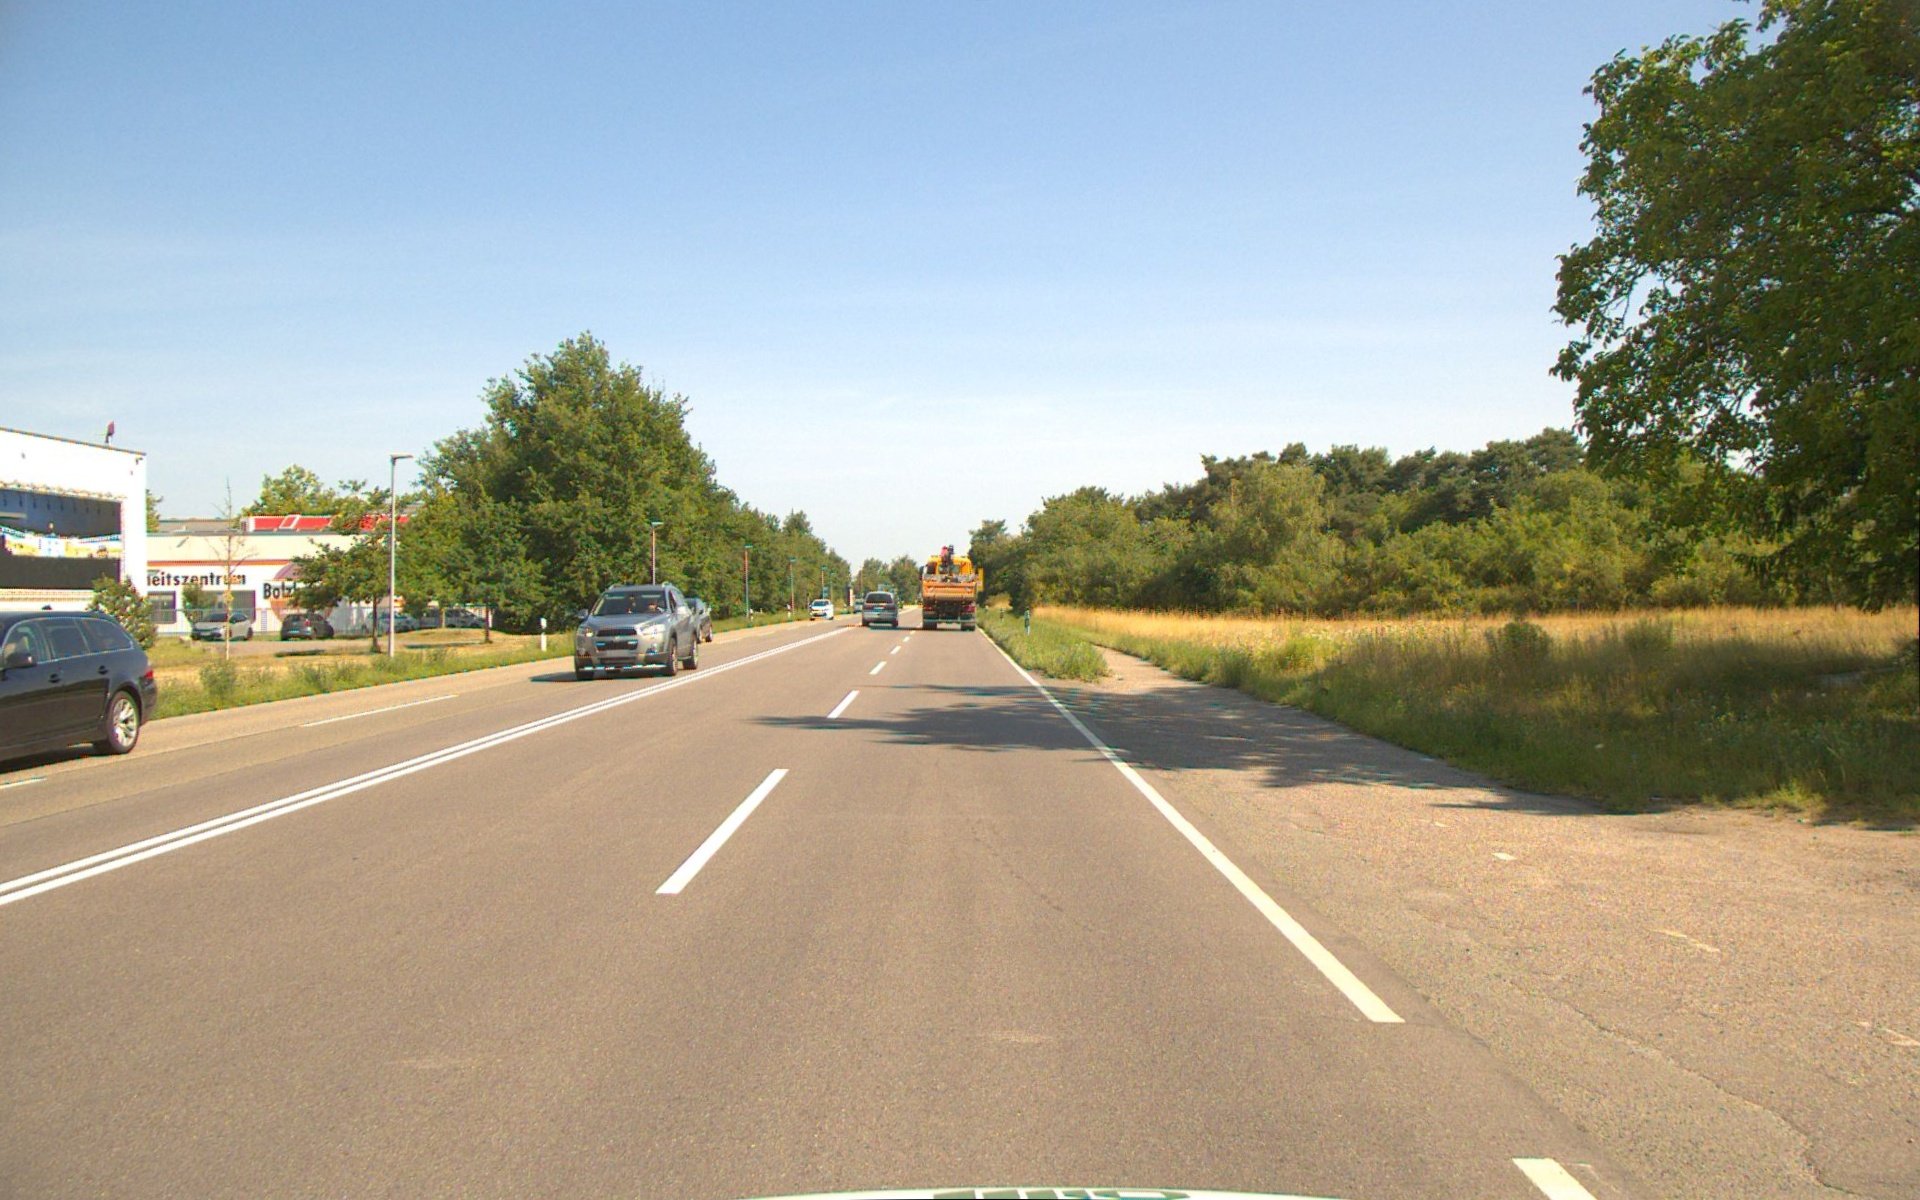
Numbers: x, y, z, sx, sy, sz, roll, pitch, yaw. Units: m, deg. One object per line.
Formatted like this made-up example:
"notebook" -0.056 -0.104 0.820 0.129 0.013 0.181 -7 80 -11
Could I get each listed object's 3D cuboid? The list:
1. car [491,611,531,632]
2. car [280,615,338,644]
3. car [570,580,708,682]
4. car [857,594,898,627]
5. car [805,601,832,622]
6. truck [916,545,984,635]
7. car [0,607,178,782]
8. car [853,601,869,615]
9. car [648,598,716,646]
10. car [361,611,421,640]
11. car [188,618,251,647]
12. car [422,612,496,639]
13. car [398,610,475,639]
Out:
"car" -31.690 1.499 116.770 1.751 1.373 4.660 -2 0 -3
"car" -33.802 1.530 85.942 1.603 1.414 3.722 -1 0 -1
"car" -6.106 0.548 31.947 1.736 1.744 4.568 -3 0 -1
"car" -4.051 0.494 81.972 1.953 1.611 3.999 0 0 -2
"car" -10.374 0.839 121.428 1.625 1.462 3.735 -3 0 -1
"truck" -0.534 -0.446 77.349 2.814 3.948 7.395 1 0 -3
"car" -9.234 0.871 15.449 1.619 1.506 4.739 -3 0 -1
"car" -11.019 0.881 184.077 1.566 1.467 3.999 -3 0 -1
"car" -9.683 0.733 57.775 1.694 1.588 4.214 1 0 -1
"car" -32.186 1.443 93.445 1.727 1.527 3.935 -1 0 -44
"car" -38.368 1.668 85.779 1.603 1.435 3.722 -1 0 -1
"car" -30.514 1.530 100.787 3.906 1.527 1.757 -1 0 -1
"car" -30.561 1.425 96.693 3.906 1.527 1.757 -1 0 -1
